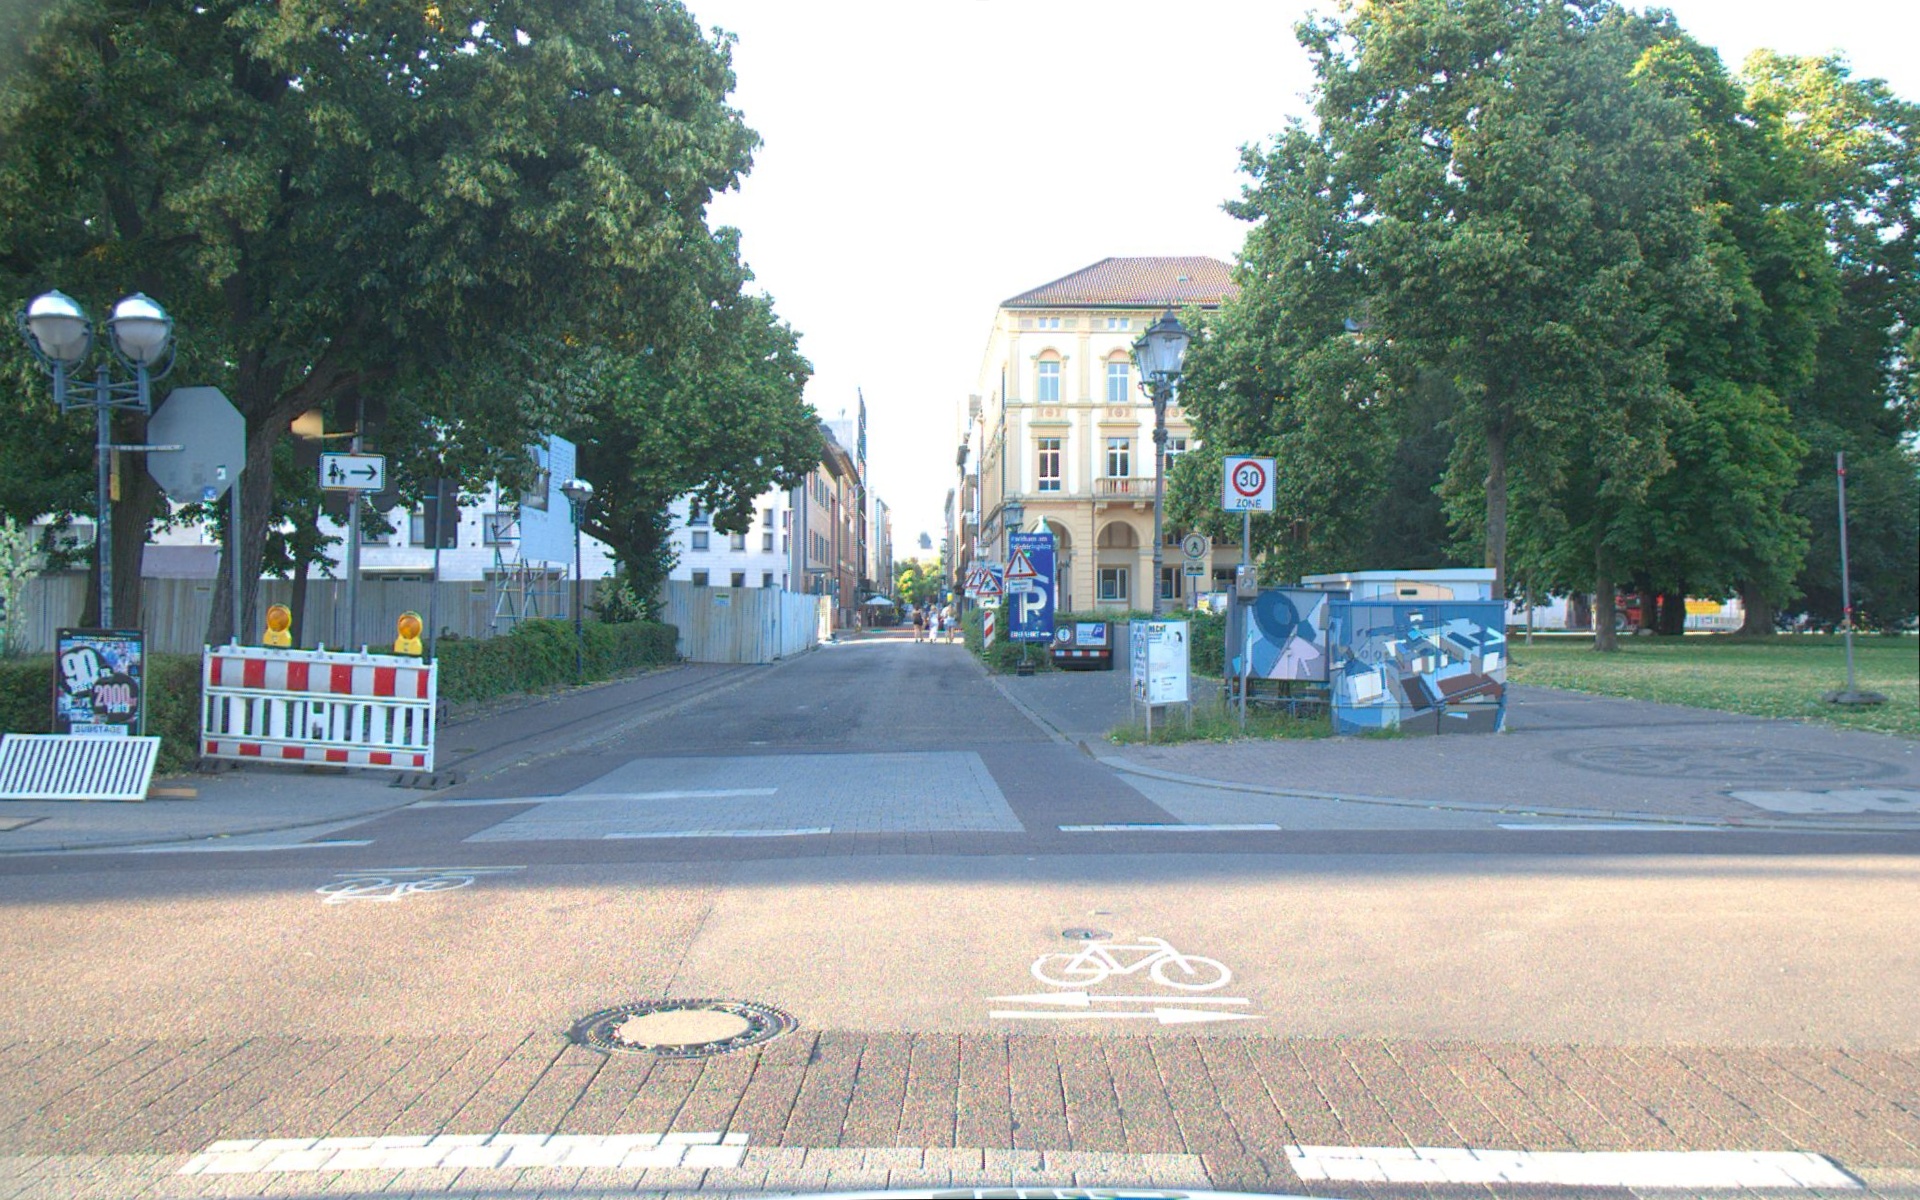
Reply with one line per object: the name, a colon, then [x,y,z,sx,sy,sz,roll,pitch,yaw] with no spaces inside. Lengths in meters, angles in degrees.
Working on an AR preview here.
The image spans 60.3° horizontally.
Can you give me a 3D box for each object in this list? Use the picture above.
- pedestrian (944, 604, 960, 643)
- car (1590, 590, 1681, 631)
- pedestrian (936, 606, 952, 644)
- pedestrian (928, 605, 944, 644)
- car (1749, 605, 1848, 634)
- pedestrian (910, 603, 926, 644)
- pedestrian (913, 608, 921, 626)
pedestrian: [-0.339,1.020,71.081,0.644,1.645,0.745,-1,-1,-1]
car: [35.421,0.550,86.753,3.949,2.049,2.000,-1,-1,0]
pedestrian: [-0.706,1.083,72.327,0.644,1.664,0.745,-1,-1,-1]
pedestrian: [-1.039,1.058,71.059,0.644,1.645,0.745,-1,-1,-1]
car: [38.100,0.861,75.164,3.506,1.262,1.996,-1,0,-8]
pedestrian: [-1.828,1.024,72.294,0.644,1.790,0.745,-1,-1,-1]
pedestrian: [-4.352,1.714,166.309,0.729,1.866,0.760,-1,-1,-7]
